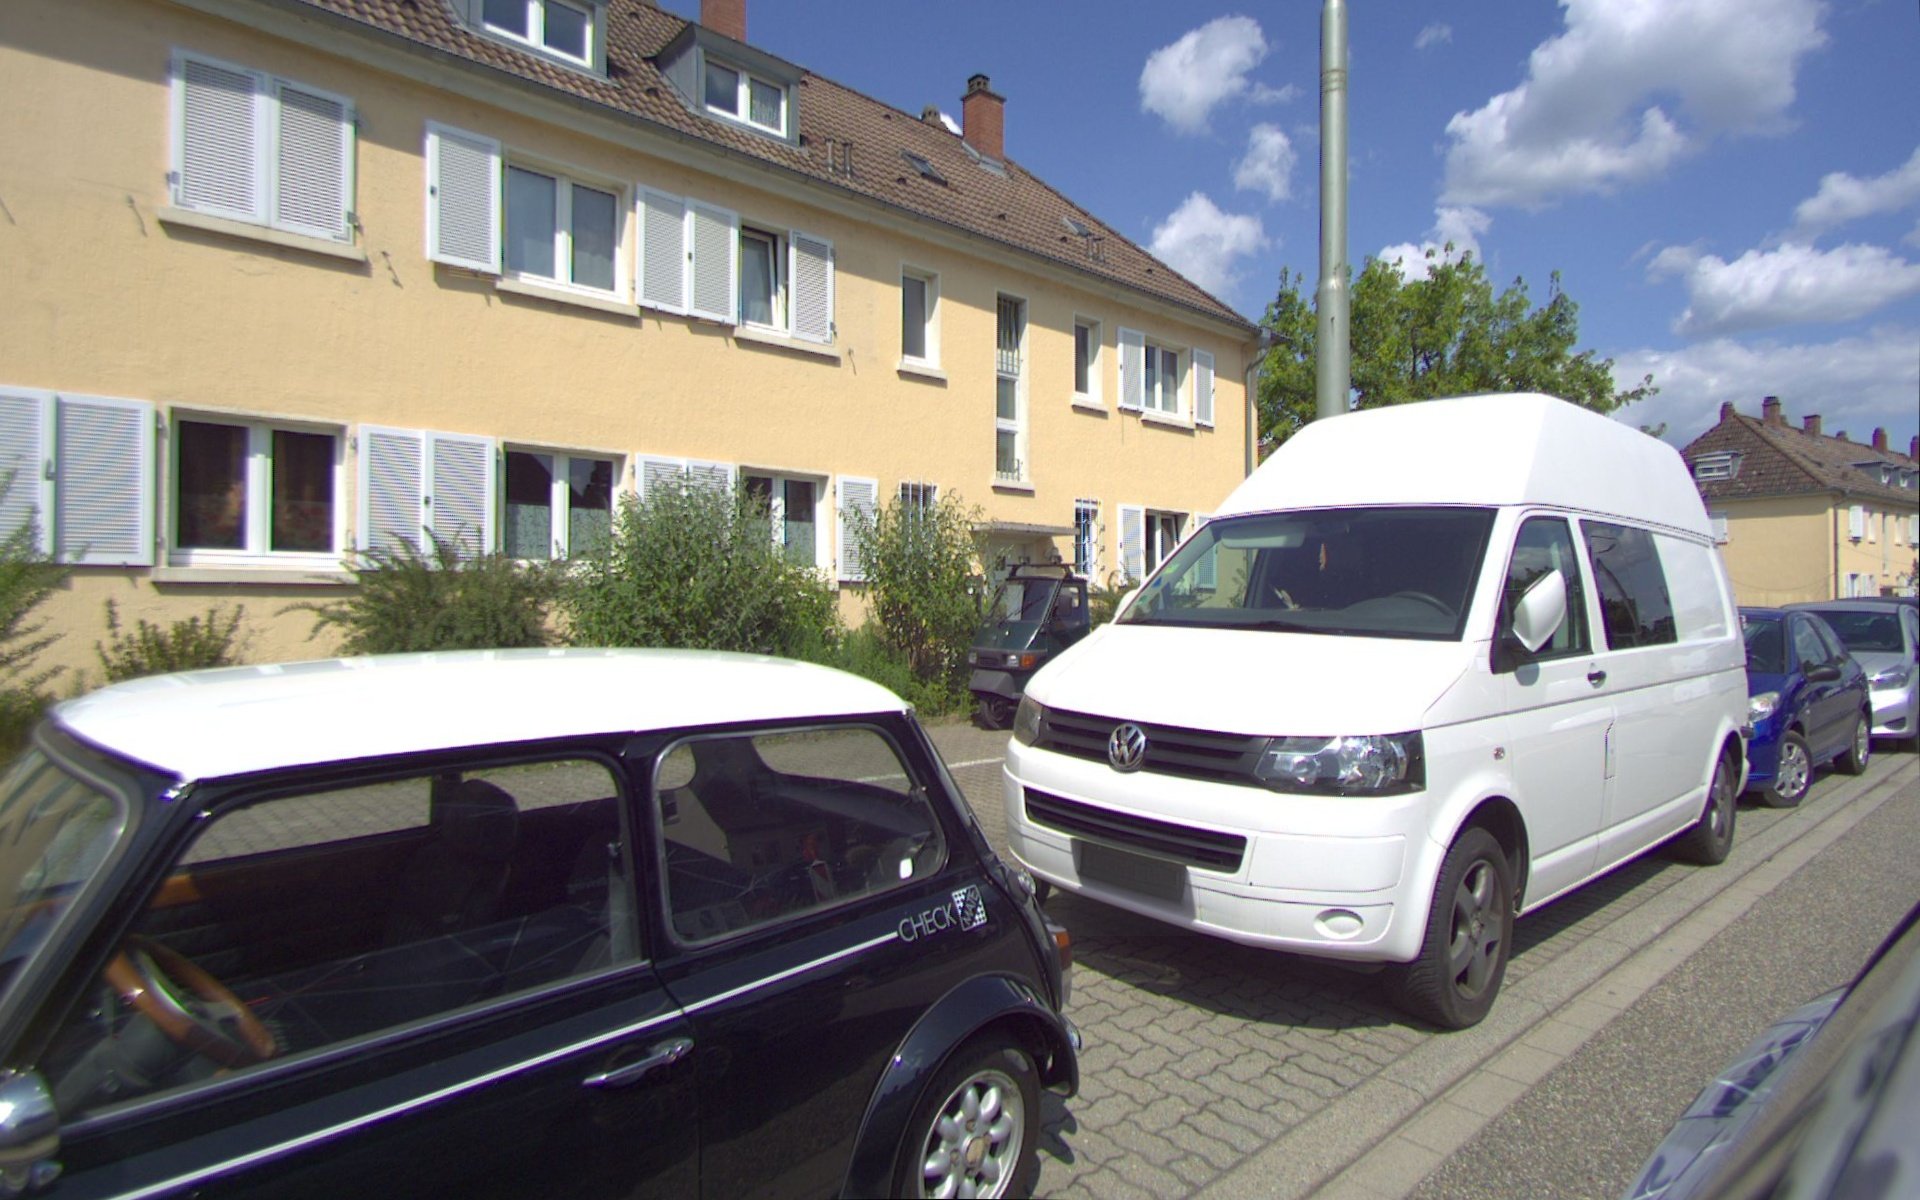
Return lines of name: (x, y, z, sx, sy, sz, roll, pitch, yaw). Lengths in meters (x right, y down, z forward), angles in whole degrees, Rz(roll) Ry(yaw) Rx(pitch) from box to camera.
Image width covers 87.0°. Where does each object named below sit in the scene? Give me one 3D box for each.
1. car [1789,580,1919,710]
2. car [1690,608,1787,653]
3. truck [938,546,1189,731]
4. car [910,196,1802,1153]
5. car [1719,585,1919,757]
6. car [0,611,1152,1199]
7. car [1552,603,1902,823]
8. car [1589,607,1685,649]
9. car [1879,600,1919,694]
car: (13.088, 0.571, 14.208, 3.863, 1.623, 1.638, 1, -1, -42)
car: (25.708, 0.969, 33.395, 4.013, 1.391, 1.640, 0, 0, -39)
truck: (1.122, 0.343, 10.633, 2.398, 1.710, 1.349, 0, 0, -40)
car: (2.479, 0.184, 5.171, 5.420, 2.512, 1.933, 0, 0, -41)
car: (10.127, 0.686, 11.394, 3.957, 1.623, 1.639, 0, -1, -40)
car: (-1.117, 0.731, 1.974, 3.234, 1.357, 1.342, -1, 0, -45)
car: (6.547, 0.762, 8.510, 3.670, 1.464, 1.539, 0, -1, -40)
car: (23.669, 0.943, 35.335, 4.013, 1.391, 1.640, 0, 0, -39)
car: (17.166, 0.762, 17.256, 4.050, 1.501, 1.639, 0, -1, -40)
